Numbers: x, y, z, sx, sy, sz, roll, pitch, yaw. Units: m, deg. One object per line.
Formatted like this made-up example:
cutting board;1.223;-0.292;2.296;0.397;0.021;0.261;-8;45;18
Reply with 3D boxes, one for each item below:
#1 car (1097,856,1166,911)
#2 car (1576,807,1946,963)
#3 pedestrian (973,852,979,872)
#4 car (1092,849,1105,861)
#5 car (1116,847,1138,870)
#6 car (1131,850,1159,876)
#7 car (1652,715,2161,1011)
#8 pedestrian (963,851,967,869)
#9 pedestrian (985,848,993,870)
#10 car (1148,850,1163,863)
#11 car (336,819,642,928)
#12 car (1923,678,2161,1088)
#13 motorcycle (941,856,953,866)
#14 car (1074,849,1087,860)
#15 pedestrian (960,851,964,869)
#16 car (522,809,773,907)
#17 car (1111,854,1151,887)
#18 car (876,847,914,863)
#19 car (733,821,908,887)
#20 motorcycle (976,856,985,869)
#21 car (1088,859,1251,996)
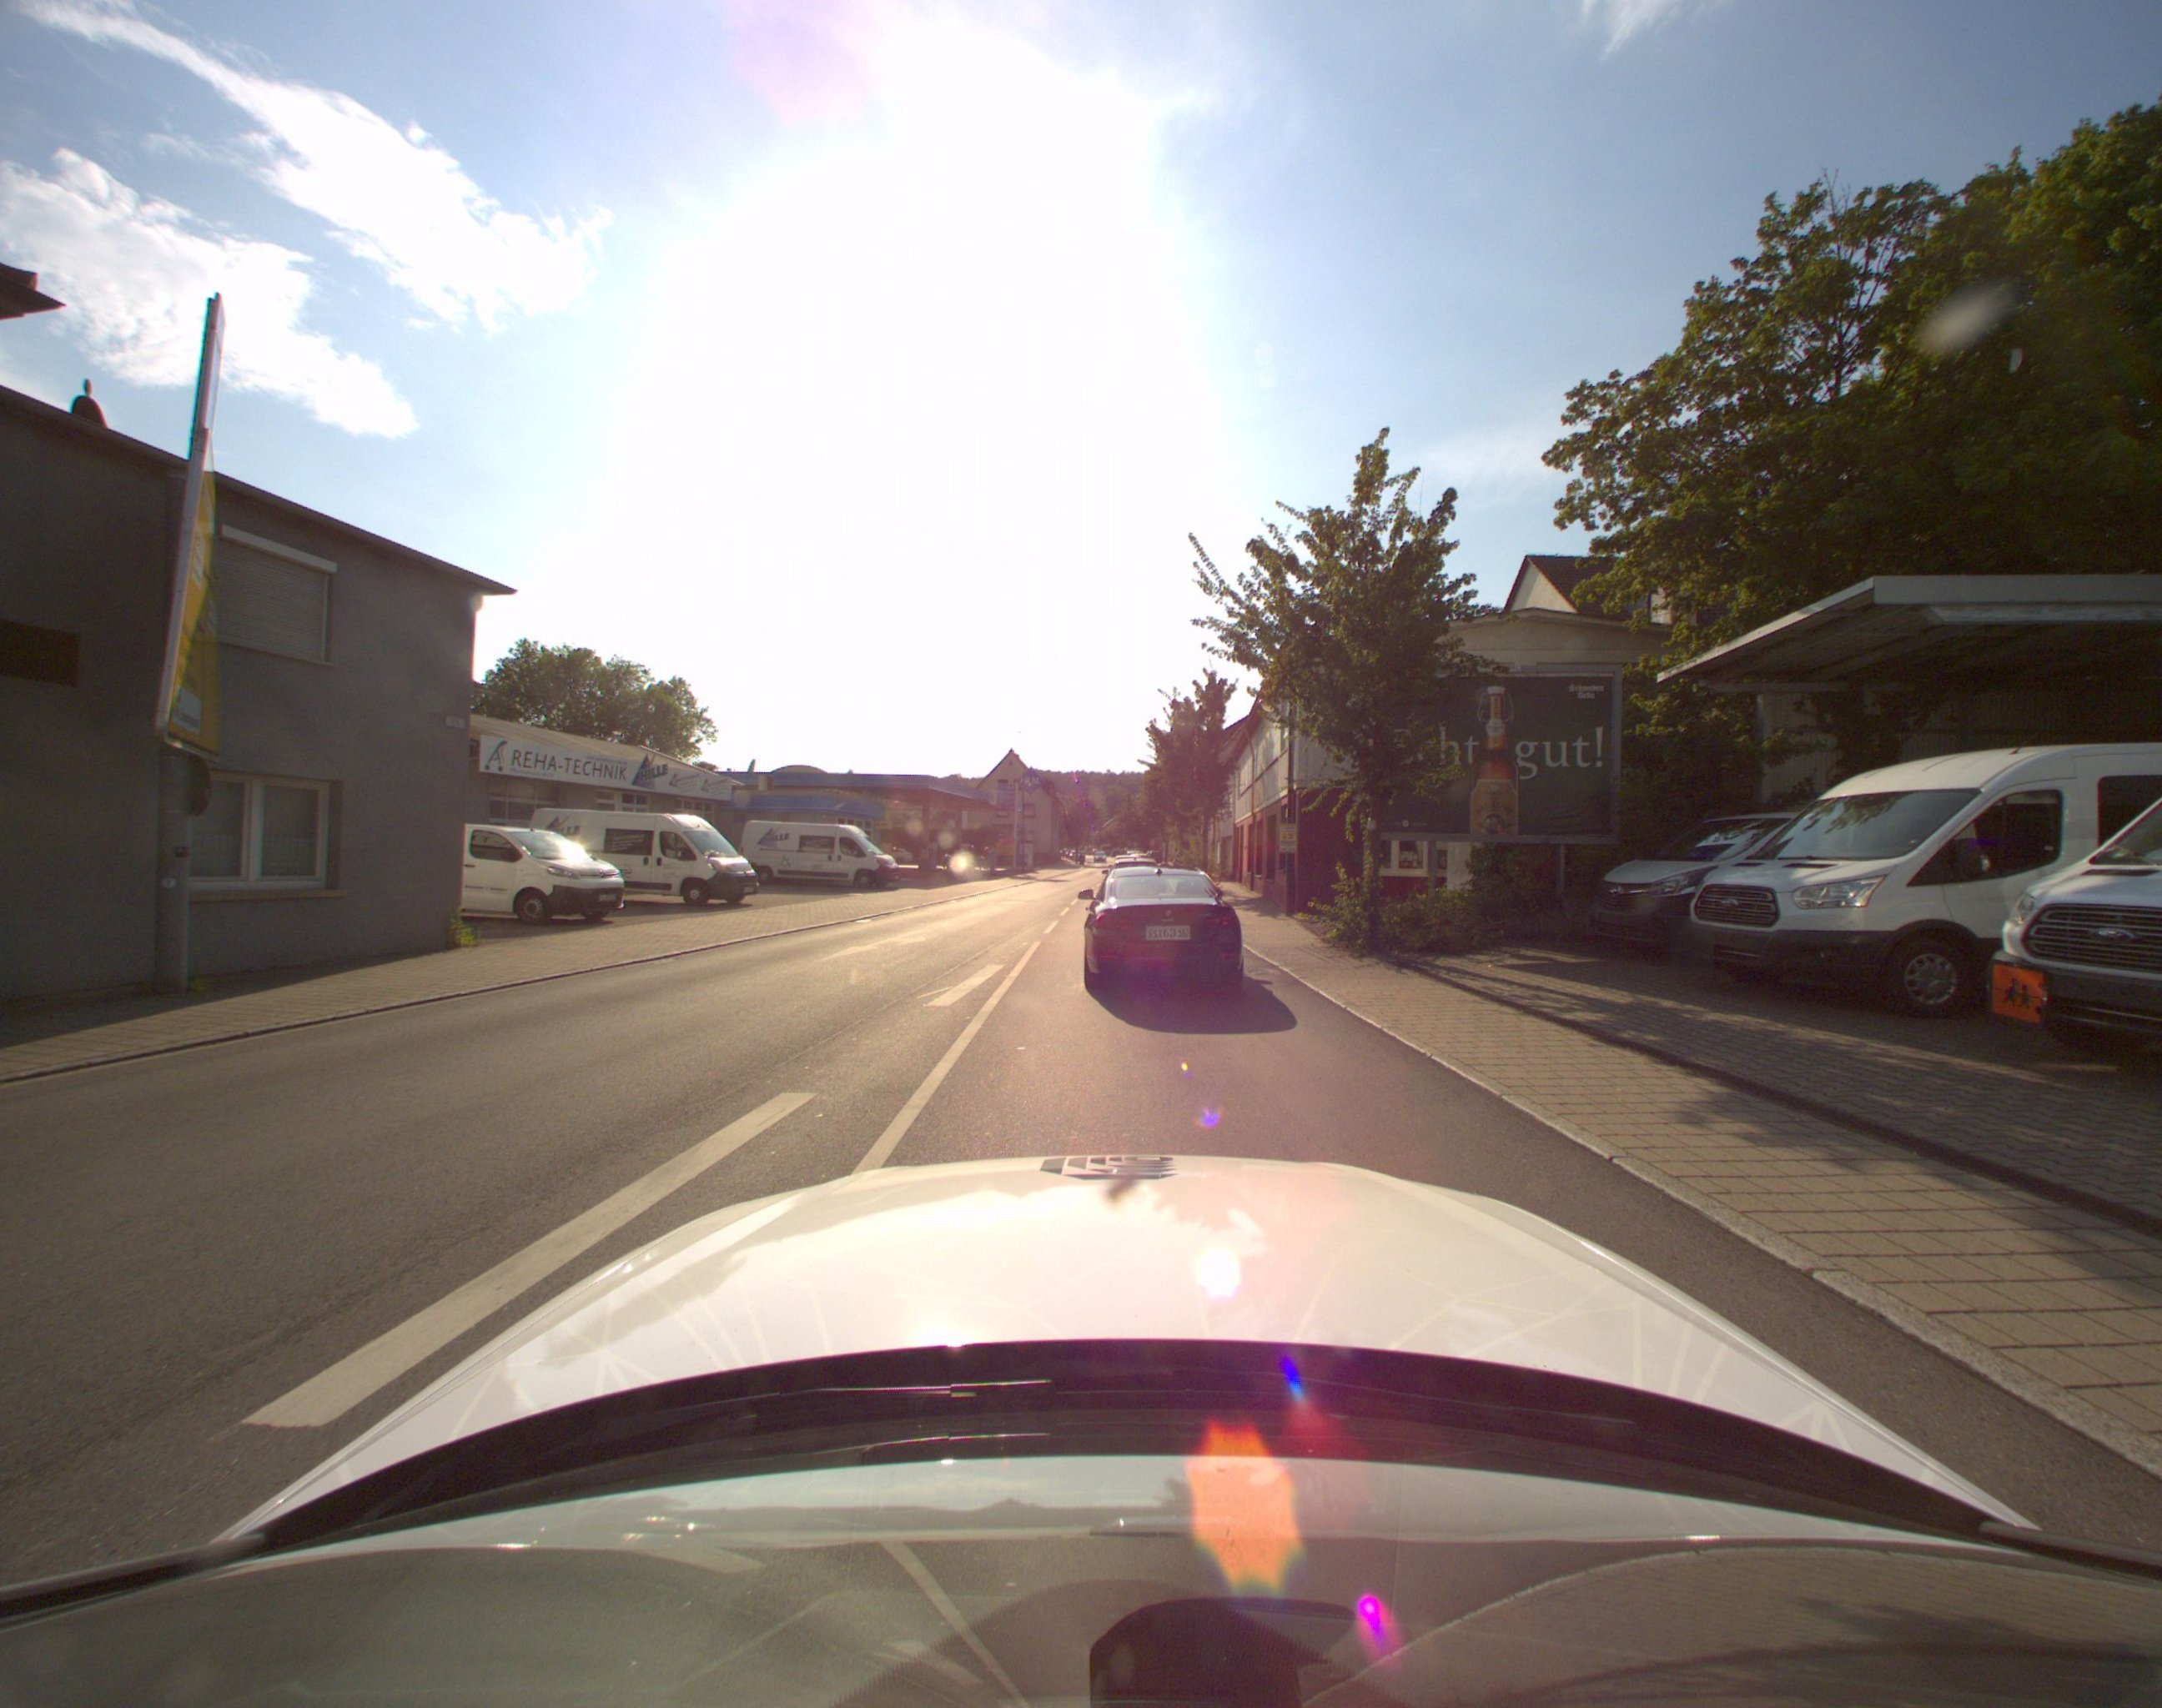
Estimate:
car;1.540;0.802;23.722;1.762;1.456;3.523;0;0;7
car;8.768;0.375;10.710;3.588;1.894;1.586;0;0;-1
pedestrian;-8.189;0.605;63.316;0.406;1.547;0.433;0;0;0
car;2.364;0.157;107.827;1.591;1.485;3.476;1;0;2
car;3.613;0.305;63.954;1.595;1.767;3.416;0;0;5
car;3.998;0.525;51.364;1.586;1.600;3.894;0;0;1
car;9.273;0.069;7.932;6.023;2.516;2.044;0;0;0
pedestrian;-8.946;0.459;62.849;0.262;1.383;0.287;0;0;-9
pedestrian;-7.131;0.371;63.154;0.608;1.670;0.442;0;0;0
car;8.852;0.268;97.150;1.591;1.485;3.476;1;0;2
car;-11.945;0.356;16.621;4.951;1.999;1.938;1;0;5
car;9.239;0.160;5.013;6.023;2.363;2.044;0;0;0
motorcycle;-10.407;0.533;63.403;0.456;0.730;1.478;0;0;10
car;-0.038;0.061;109.944;1.591;1.485;3.476;1;0;2
pedestrian;-9.113;0.448;62.316;0.286;1.366;0.263;0;0;-1
car;-11.922;0.079;22.618;5.888;2.480;2.198;1;0;7
car;2.328;0.705;37.253;1.746;1.414;3.426;0;0;4
car;-16.341;0.089;71.575;3.157;1.427;1.431;0;0;-16
car;-10.235;-0.028;32.348;6.133;2.444;2.251;1;0;3
motorcycle;-7.737;0.648;62.762;0.362;0.943;1.696;0;0;2
car;0.976;0.785;10.692;1.693;1.369;4.263;-1;0;1
